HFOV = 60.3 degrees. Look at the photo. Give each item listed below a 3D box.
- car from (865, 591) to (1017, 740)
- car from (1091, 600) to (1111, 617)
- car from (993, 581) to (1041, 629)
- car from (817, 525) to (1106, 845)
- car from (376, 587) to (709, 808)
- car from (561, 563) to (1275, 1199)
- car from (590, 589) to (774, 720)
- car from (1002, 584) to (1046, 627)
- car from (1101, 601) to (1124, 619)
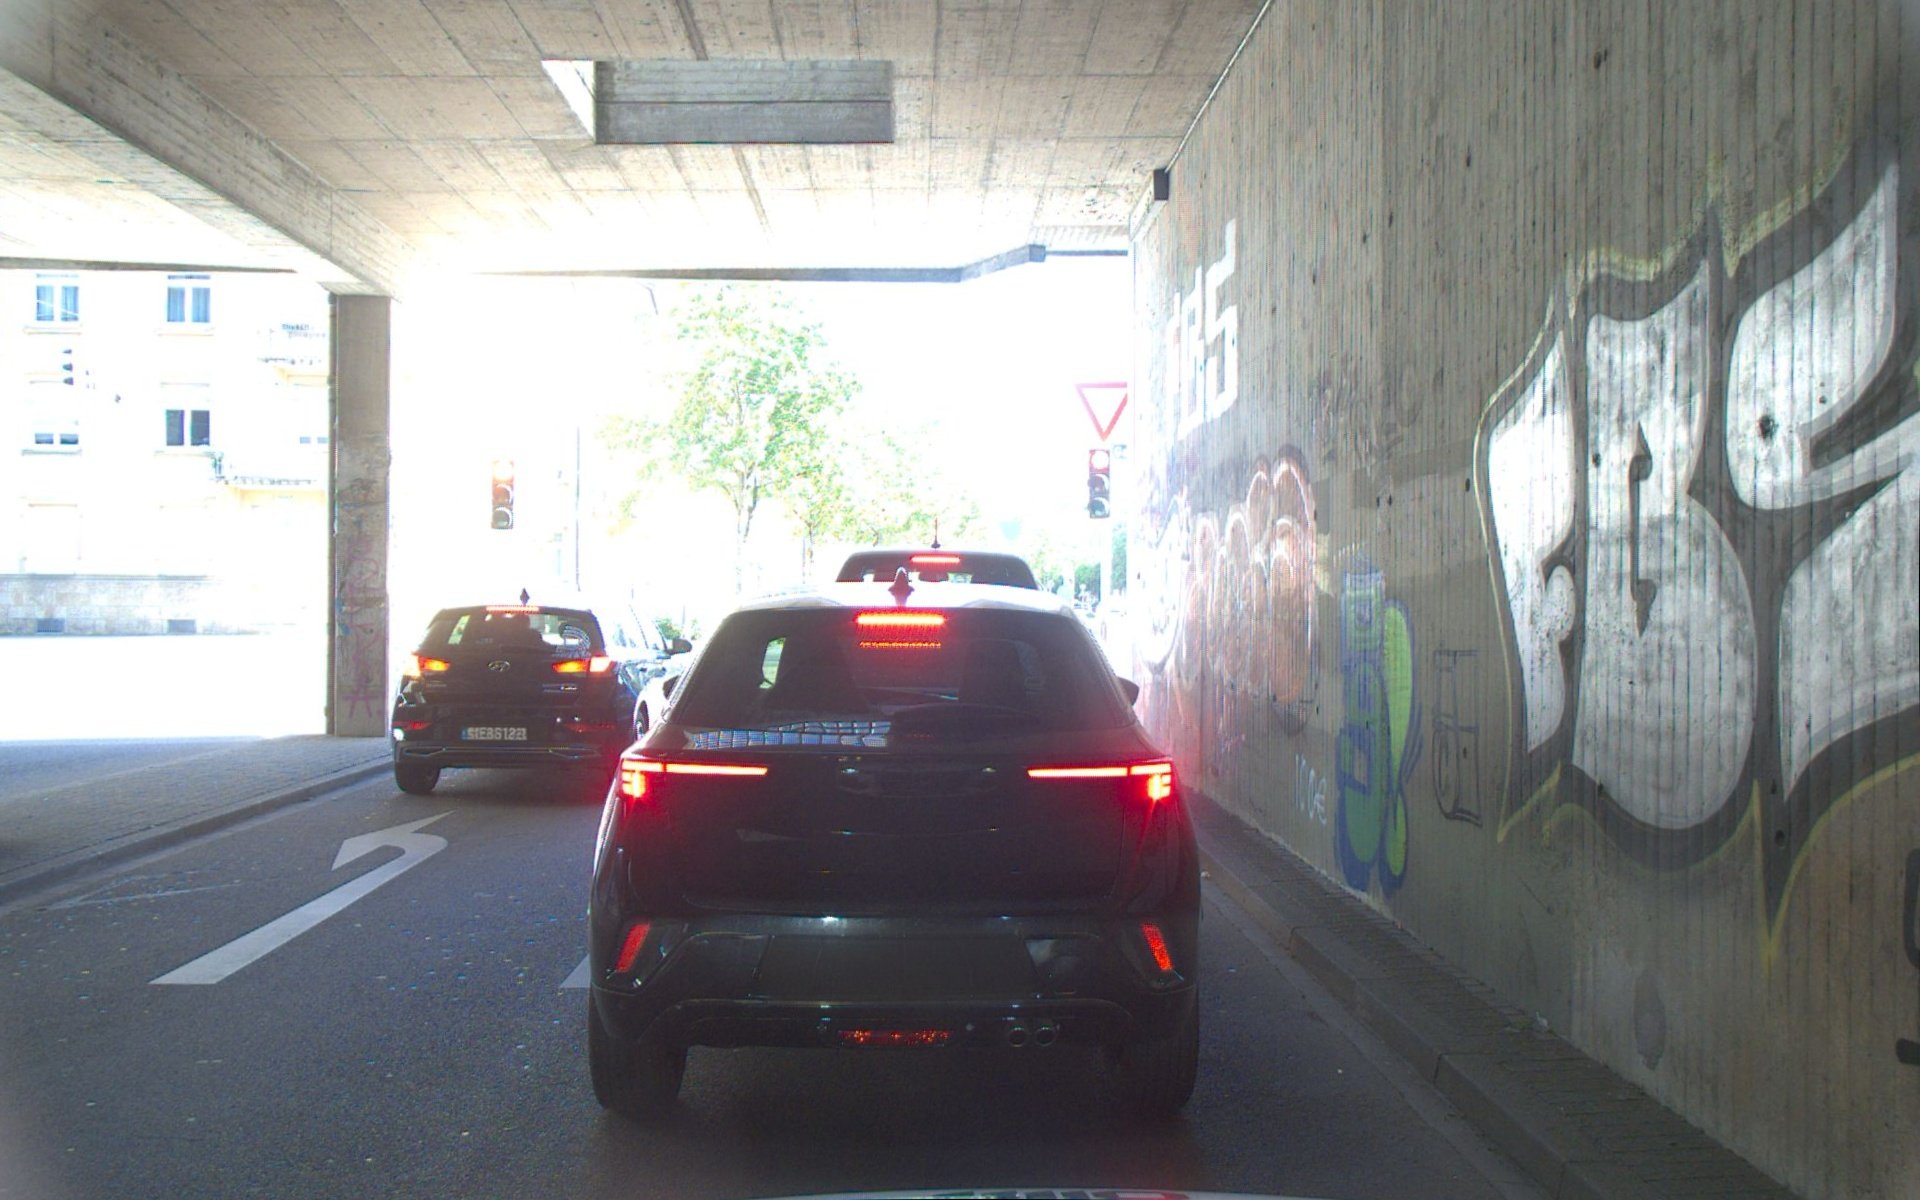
[{"bbox_3d":[-0.227,0.674,19.222,1.576,1.539,4.053,0,0,-1],"label":"car"},{"bbox_3d":[14.702,0.882,172.725,1.716,1.696,3.948,1,0,10],"label":"car"},{"bbox_3d":[2.184,0.189,62.202,1.717,1.696,3.946,1,0,3],"label":"car"},{"bbox_3d":[-0.021,0.507,12.007,1.726,1.915,4.145,0,0,-1],"label":"car"},{"bbox_3d":[-3.137,0.661,13.205,1.726,1.506,3.843,0,0,-1],"label":"car"},{"bbox_3d":[-0.126,0.688,6.062,1.726,1.558,4.088,0,0,-1],"label":"car"},{"bbox_3d":[-3.409,0.623,20.925,1.726,1.506,3.843,0,0,-1],"label":"car"},{"bbox_3d":[2.672,0.224,68.328,1.717,1.696,3.946,1,0,3],"label":"car"},{"bbox_3d":[14.916,0.976,161.382,1.778,1.696,4.819,1,0,11],"label":"car"}]
